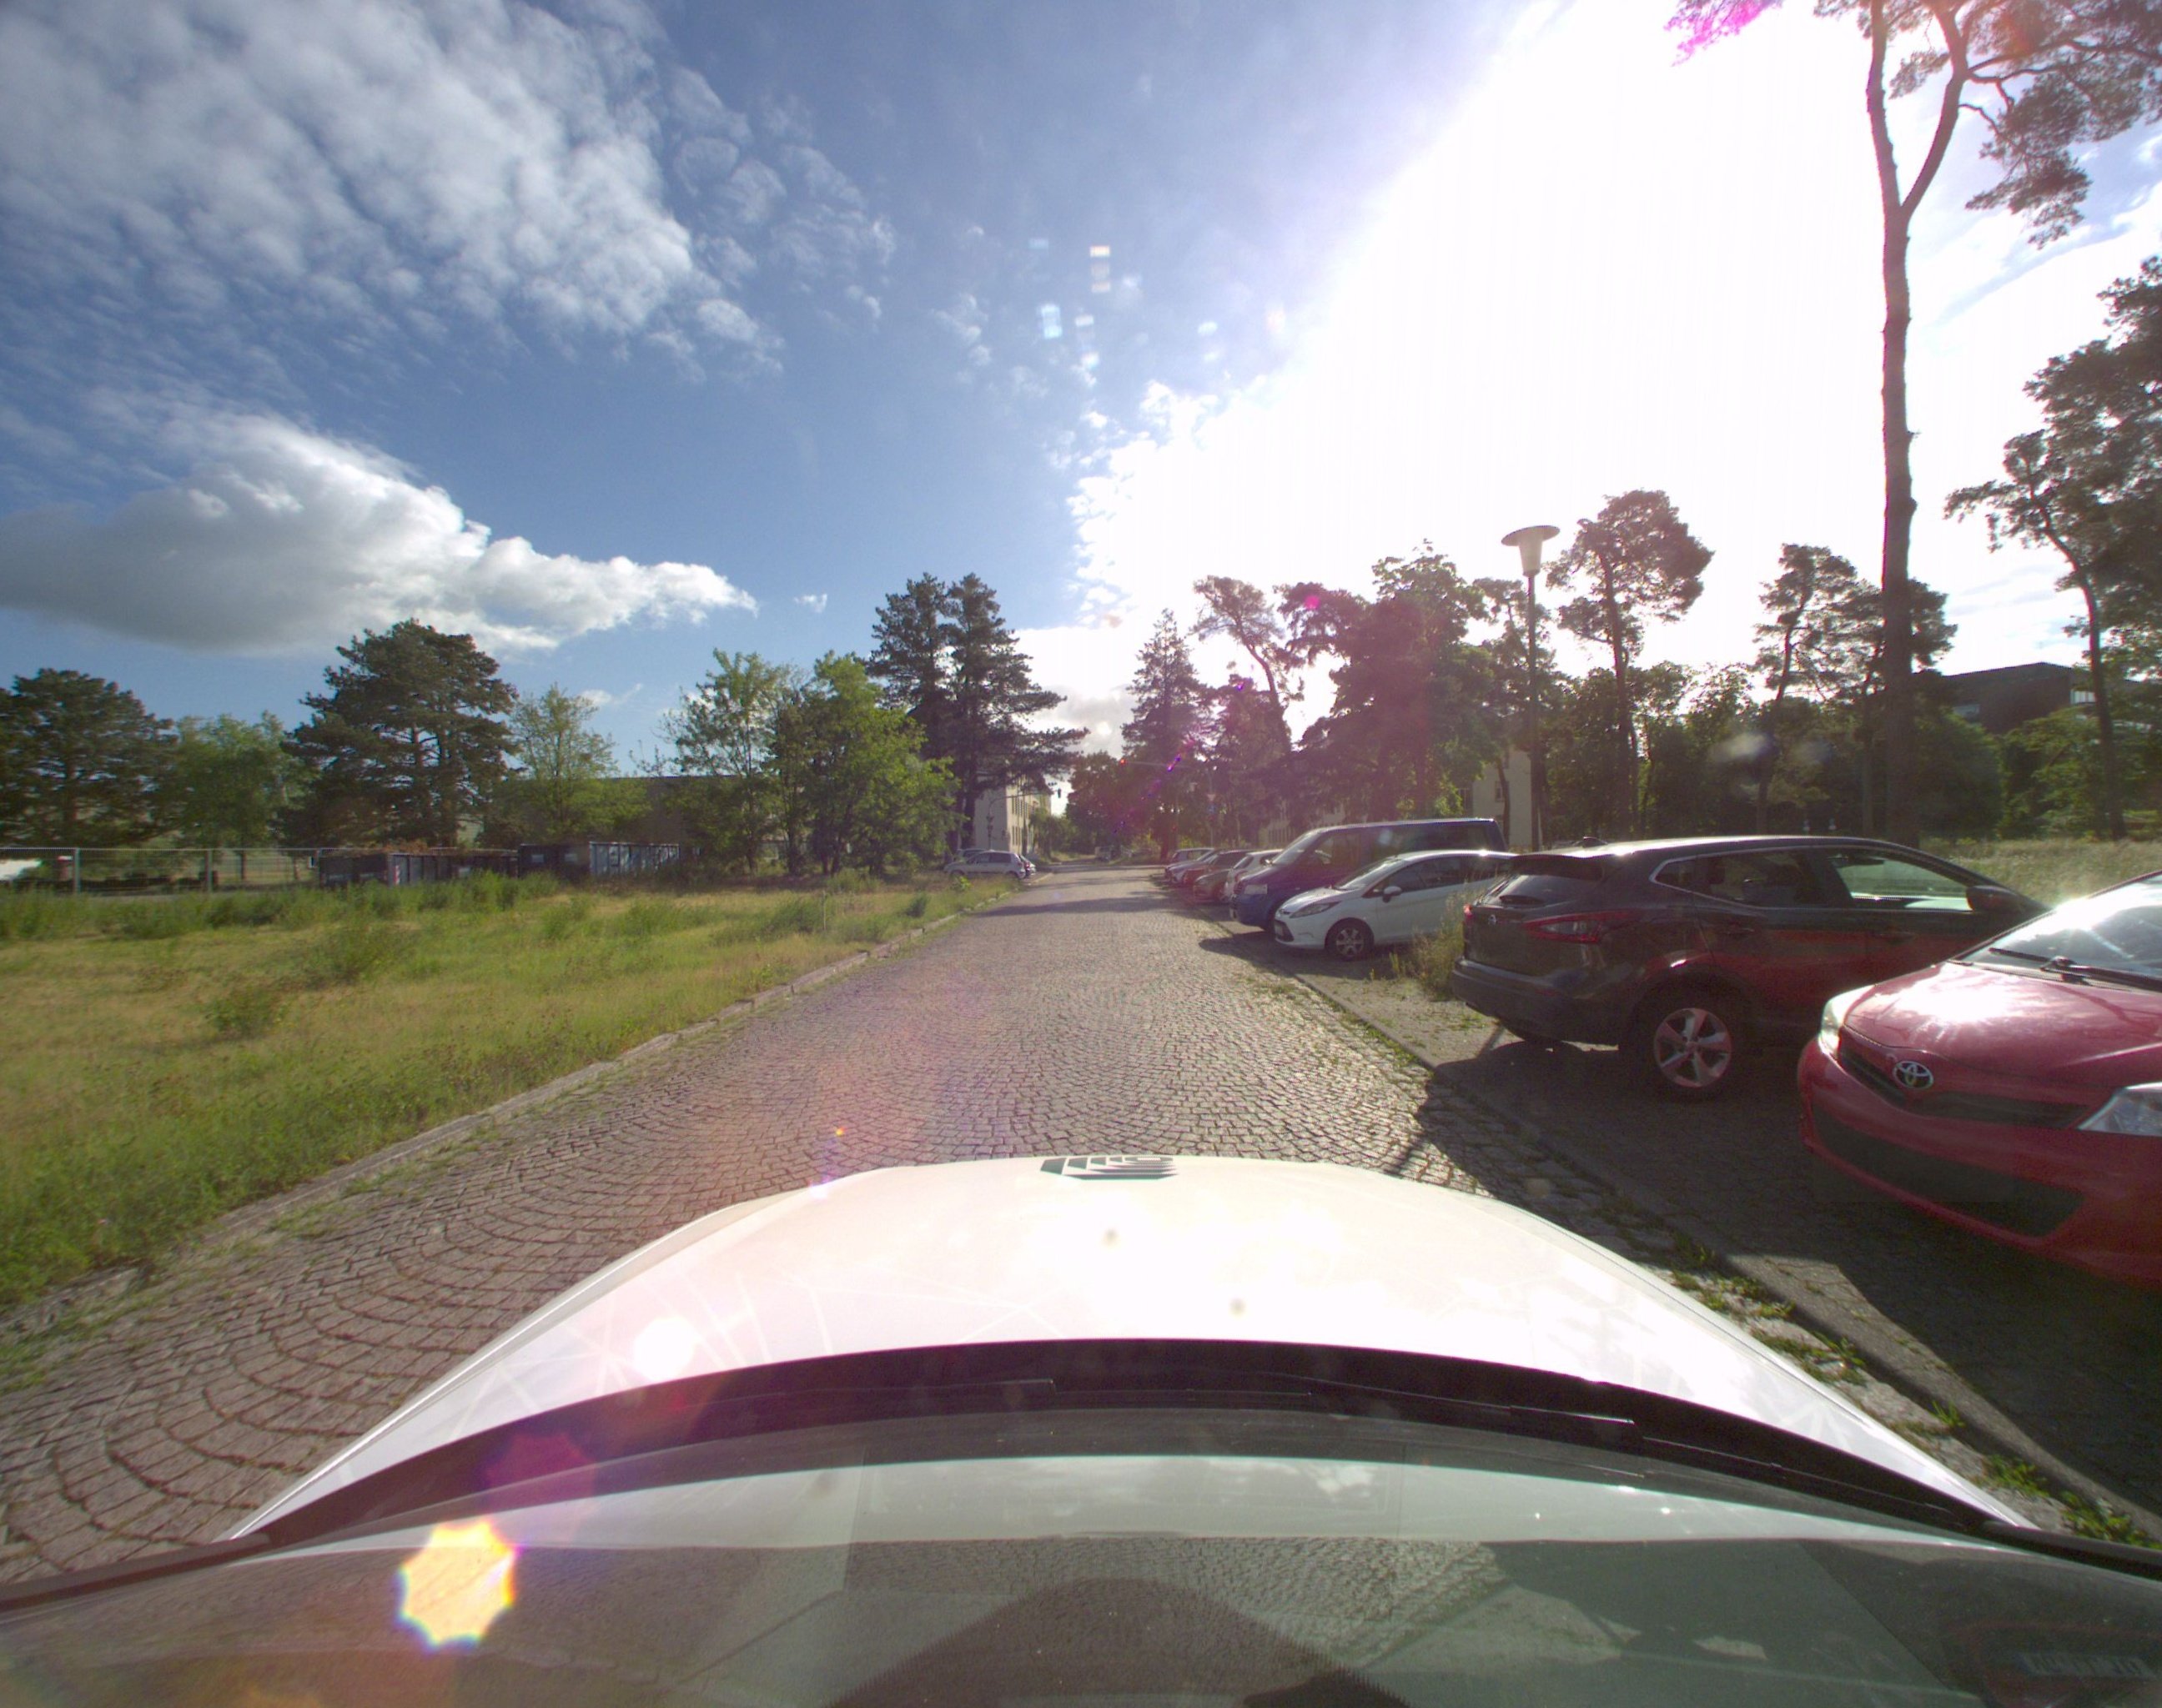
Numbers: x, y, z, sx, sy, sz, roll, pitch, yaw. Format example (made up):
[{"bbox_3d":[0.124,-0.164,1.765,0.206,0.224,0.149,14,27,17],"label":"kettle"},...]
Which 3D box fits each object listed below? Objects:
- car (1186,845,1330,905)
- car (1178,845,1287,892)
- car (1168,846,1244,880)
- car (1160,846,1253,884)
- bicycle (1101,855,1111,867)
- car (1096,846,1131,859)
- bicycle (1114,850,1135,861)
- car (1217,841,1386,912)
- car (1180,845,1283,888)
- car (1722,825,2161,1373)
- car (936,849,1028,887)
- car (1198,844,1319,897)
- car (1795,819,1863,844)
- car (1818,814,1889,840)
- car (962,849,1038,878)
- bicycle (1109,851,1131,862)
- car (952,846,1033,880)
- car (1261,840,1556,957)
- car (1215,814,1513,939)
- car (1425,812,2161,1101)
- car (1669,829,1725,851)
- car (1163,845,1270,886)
[{"bbox_3d":[4.890,0.562,22.856,3.663,1.467,1.645,-2,0,0],"label":"car"},{"bbox_3d":[5.241,0.487,28.463,3.466,1.529,1.645,-1,0,0],"label":"car"},{"bbox_3d":[5.841,0.413,38.409,3.332,1.482,1.645,-1,0,0],"label":"car"},{"bbox_3d":[5.461,0.461,35.774,3.823,1.529,1.645,-1,0,0],"label":"car"},{"bbox_3d":[2.592,0.711,84.031,0.803,1.169,2.177,-3,0,-4],"label":"bicycle"},{"bbox_3d":[4.195,-0.196,104.943,4.465,1.728,2.000,-1,0,1],"label":"car"},{"bbox_3d":[4.763,0.169,88.818,2.172,1.100,0.805,-1,0,-9],"label":"bicycle"},{"bbox_3d":[5.319,0.523,19.959,3.680,1.465,1.646,-3,0,2],"label":"car"},{"bbox_3d":[5.654,0.464,30.918,3.591,1.529,1.645,-1,0,0],"label":"car"},{"bbox_3d":[4.903,0.638,3.016,3.749,1.530,1.646,-1,0,1],"label":"car"},{"bbox_3d":[-4.534,0.617,37.834,3.976,1.600,1.999,-1,0,-2],"label":"car"},{"bbox_3d":[5.541,0.500,25.764,3.466,1.529,1.645,-1,0,0],"label":"car"},{"bbox_3d":[64.229,-1.933,69.965,3.972,2.013,2.001,-1,0,1],"label":"car"},{"bbox_3d":[64.203,-2.213,67.727,3.972,2.013,2.001,-1,0,1],"label":"car"},{"bbox_3d":[-4.515,0.527,45.629,3.973,1.453,2.000,2,0,1],"label":"car"},{"bbox_3d":[4.185,0.294,87.463,2.172,1.100,0.805,-1,0,-9],"label":"bicycle"},{"bbox_3d":[-4.658,0.443,43.229,3.973,1.601,2.000,2,0,1],"label":"car"},{"bbox_3d":[4.724,0.608,12.110,3.708,1.488,1.645,-2,0,-1],"label":"car"},{"bbox_3d":[4.965,0.363,14.785,4.664,2.013,2.082,-1,0,-2],"label":"car"},{"bbox_3d":[4.739,0.593,5.687,3.923,1.621,1.772,-1,0,0],"label":"car"},{"bbox_3d":[60.303,-1.352,79.718,3.972,2.013,2.001,-1,0,1],"label":"car"},{"bbox_3d":[5.431,0.456,33.002,4.024,1.529,1.644,-1,0,-3],"label":"car"}]
